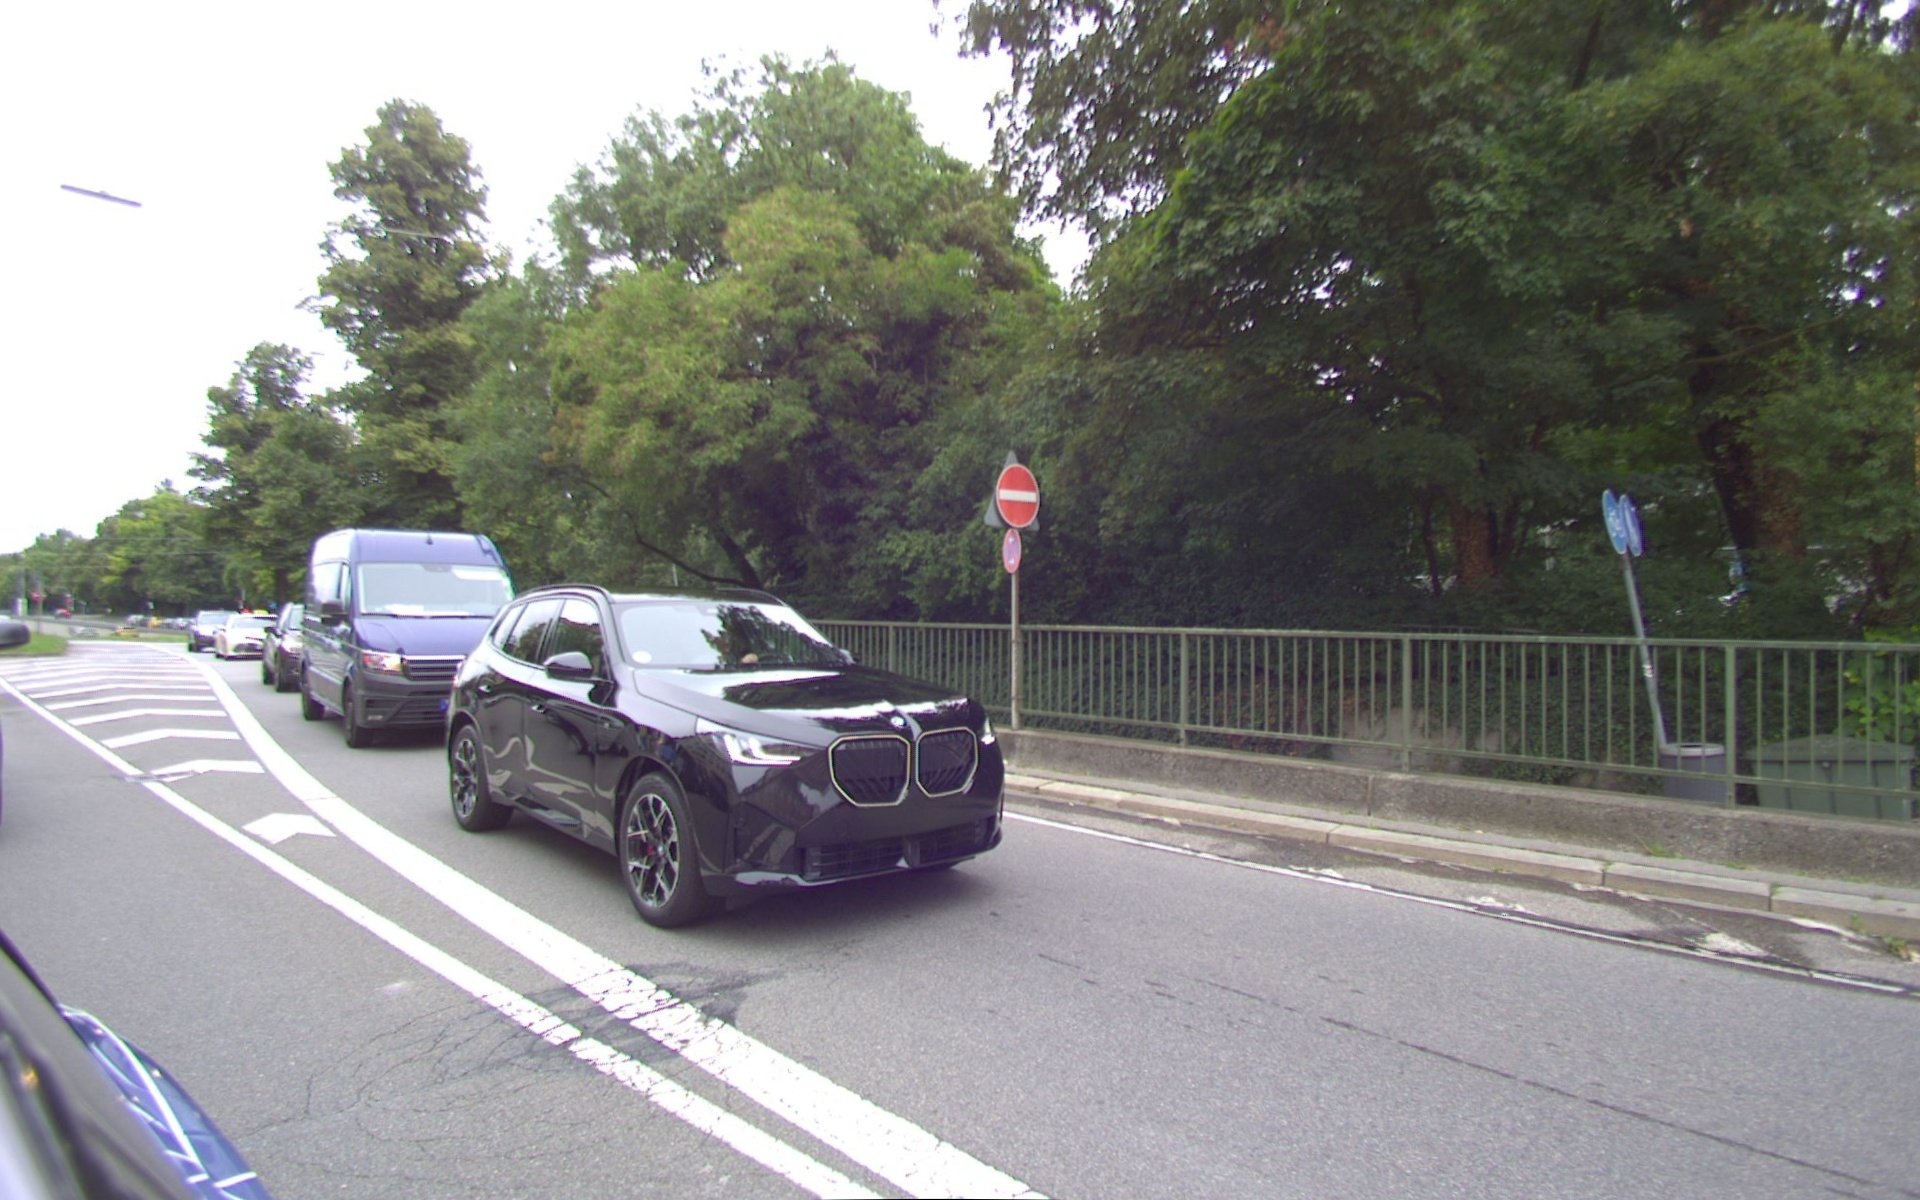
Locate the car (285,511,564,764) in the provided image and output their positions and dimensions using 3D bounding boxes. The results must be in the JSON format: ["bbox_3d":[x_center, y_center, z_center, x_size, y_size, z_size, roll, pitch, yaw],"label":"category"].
[{"bbox_3d":[-7.190,0.394,13.126,1.975,2.510,6.244,1,-1,-39],"label":"car"}]

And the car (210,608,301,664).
[{"bbox_3d":[-22.772,1.124,32.603,2.072,1.602,5.578,-1,0,-38],"label":"car"}]

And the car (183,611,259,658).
[{"bbox_3d":[-30.350,1.367,41.487,2.280,1.742,5.225,-1,0,-38],"label":"car"}]

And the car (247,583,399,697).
[{"bbox_3d":[-13.170,0.747,20.729,1.976,1.951,5.816,-2,0,-38],"label":"car"}]

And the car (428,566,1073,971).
[{"bbox_3d":[-1.565,0.698,6.182,1.893,1.577,4.298,2,-2,-43],"label":"car"}]

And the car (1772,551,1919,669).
[{"bbox_3d":[26.349,0.306,28.496,4.758,3.199,2.473,0,-2,14],"label":"car"}]
